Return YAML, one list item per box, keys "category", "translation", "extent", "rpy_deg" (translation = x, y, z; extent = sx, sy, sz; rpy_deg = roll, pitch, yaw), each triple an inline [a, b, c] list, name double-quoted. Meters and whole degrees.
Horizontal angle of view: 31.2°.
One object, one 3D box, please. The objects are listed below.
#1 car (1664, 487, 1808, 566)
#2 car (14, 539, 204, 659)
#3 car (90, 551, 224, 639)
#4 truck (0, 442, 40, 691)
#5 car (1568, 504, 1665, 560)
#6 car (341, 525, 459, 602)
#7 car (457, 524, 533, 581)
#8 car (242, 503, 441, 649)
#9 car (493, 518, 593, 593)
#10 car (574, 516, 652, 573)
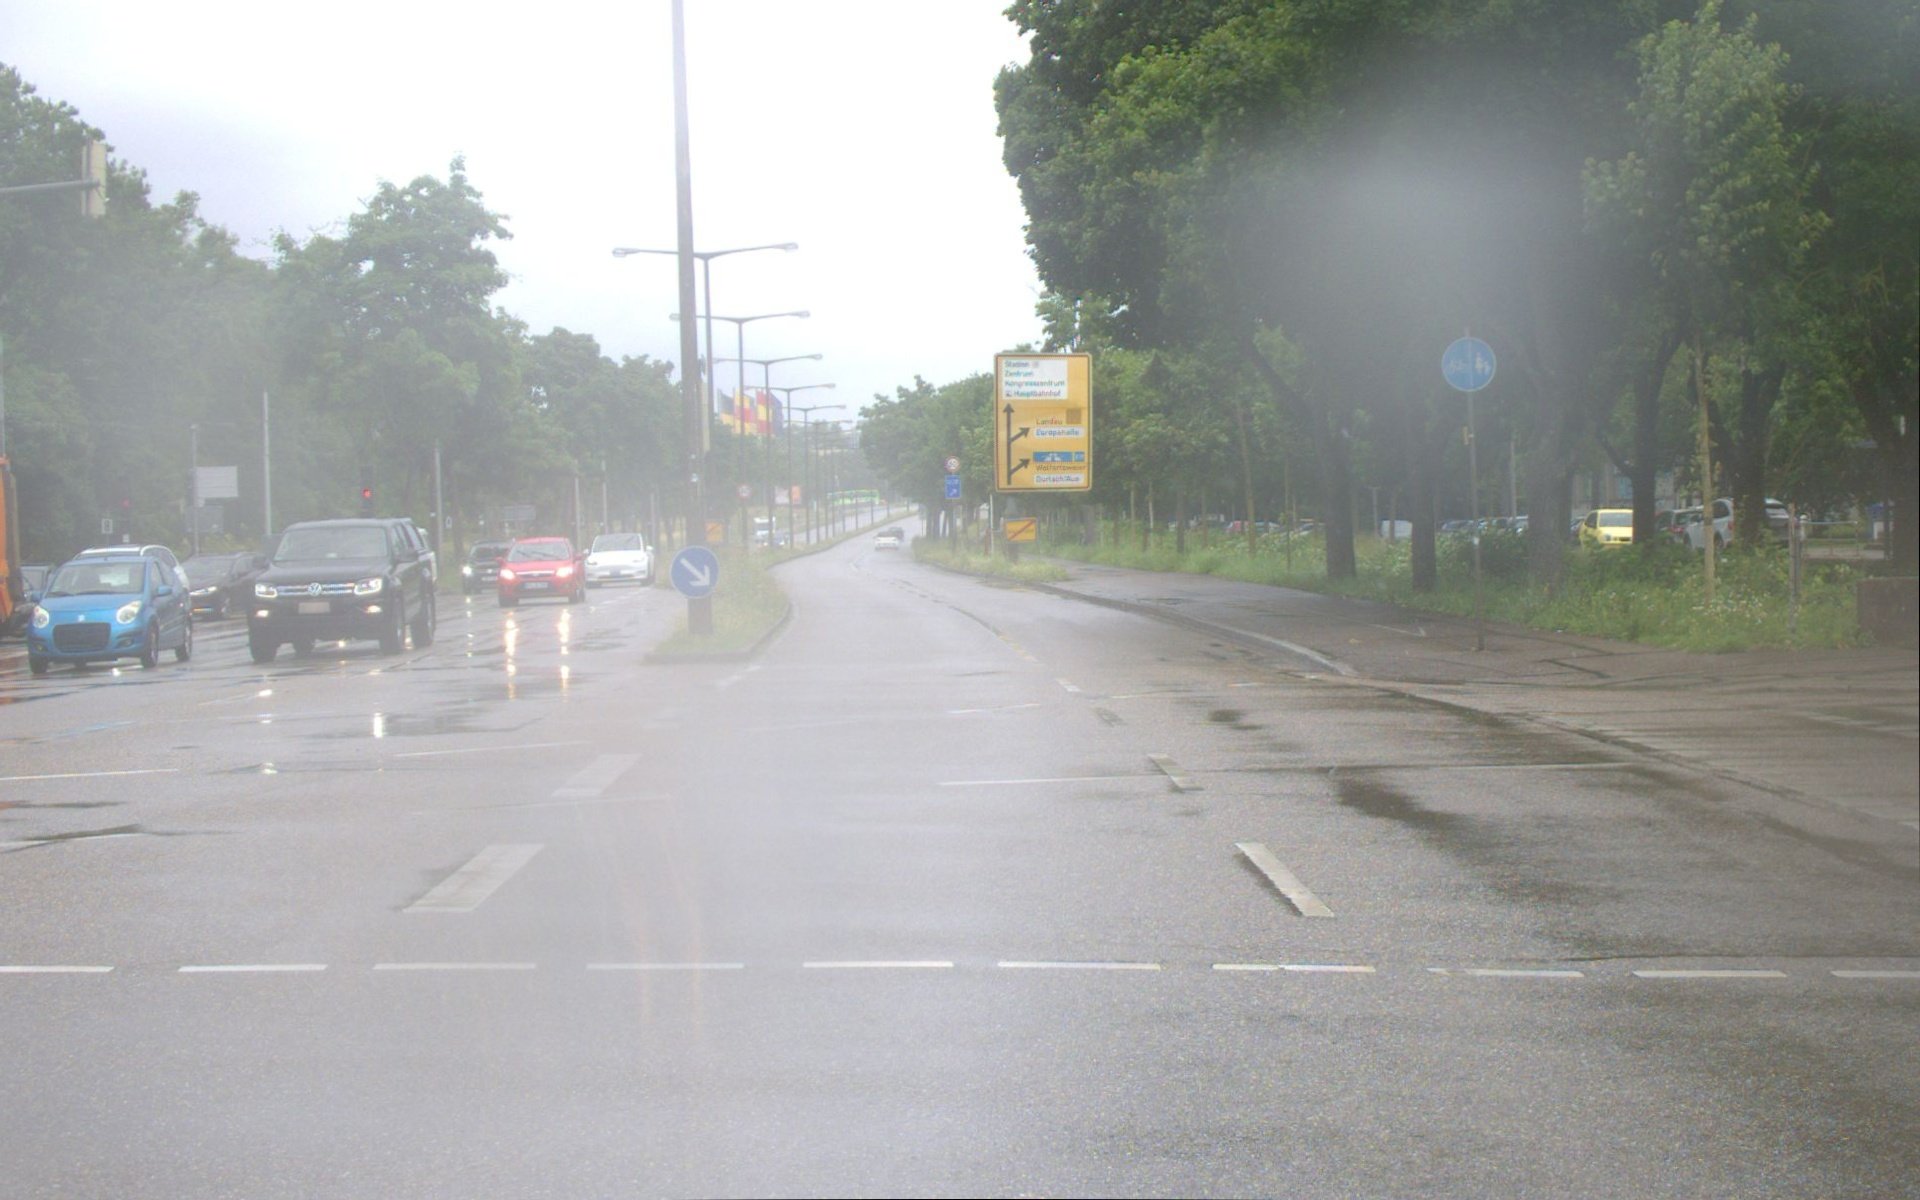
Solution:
- category: "car"
  translation: [18.117, -1.703, 80.481]
  extent: [1.993, 1.711, 4.879]
  rpy_deg: [-2, 1, -3]
- category: "car"
  translation: [-11.177, -0.034, 45.384]
  extent: [1.641, 1.422, 4.001]
  rpy_deg: [-3, 1, -3]
- category: "car"
  translation: [-17.290, -0.134, 74.245]
  extent: [1.993, 1.821, 4.772]
  rpy_deg: [1, 1, -3]
- category: "truck"
  translation: [-17.674, -0.545, 54.917]
  extent: [3.384, 4.153, 10.407]
  rpy_deg: [1, 1, -1]
- category: "car"
  translation: [17.922, -1.848, 93.994]
  extent: [1.637, 1.481, 4.073]
  rpy_deg: [1, 1, -3]
- category: "car"
  translation: [-12.323, -0.834, 75.888]
  extent: [1.894, 1.605, 4.500]
  rpy_deg: [-1, 1, -1]
- category: "car"
  translation: [-14.169, -1.468, 104.978]
  extent: [1.707, 1.636, 4.331]
  rpy_deg: [-3, 1, -1]
- category: "car"
  translation: [-8.251, -0.362, 46.296]
  extent: [1.805, 1.767, 5.090]
  rpy_deg: [-3, 1, -1]
- category: "car"
  translation: [-9.403, -1.000, 77.772]
  extent: [1.801, 1.564, 4.429]
  rpy_deg: [-3, 1, -2]
- category: "car"
  translation: [-10.491, -1.690, 104.124]
  extent: [1.961, 1.611, 4.698]
  rpy_deg: [-2, 1, -1]
